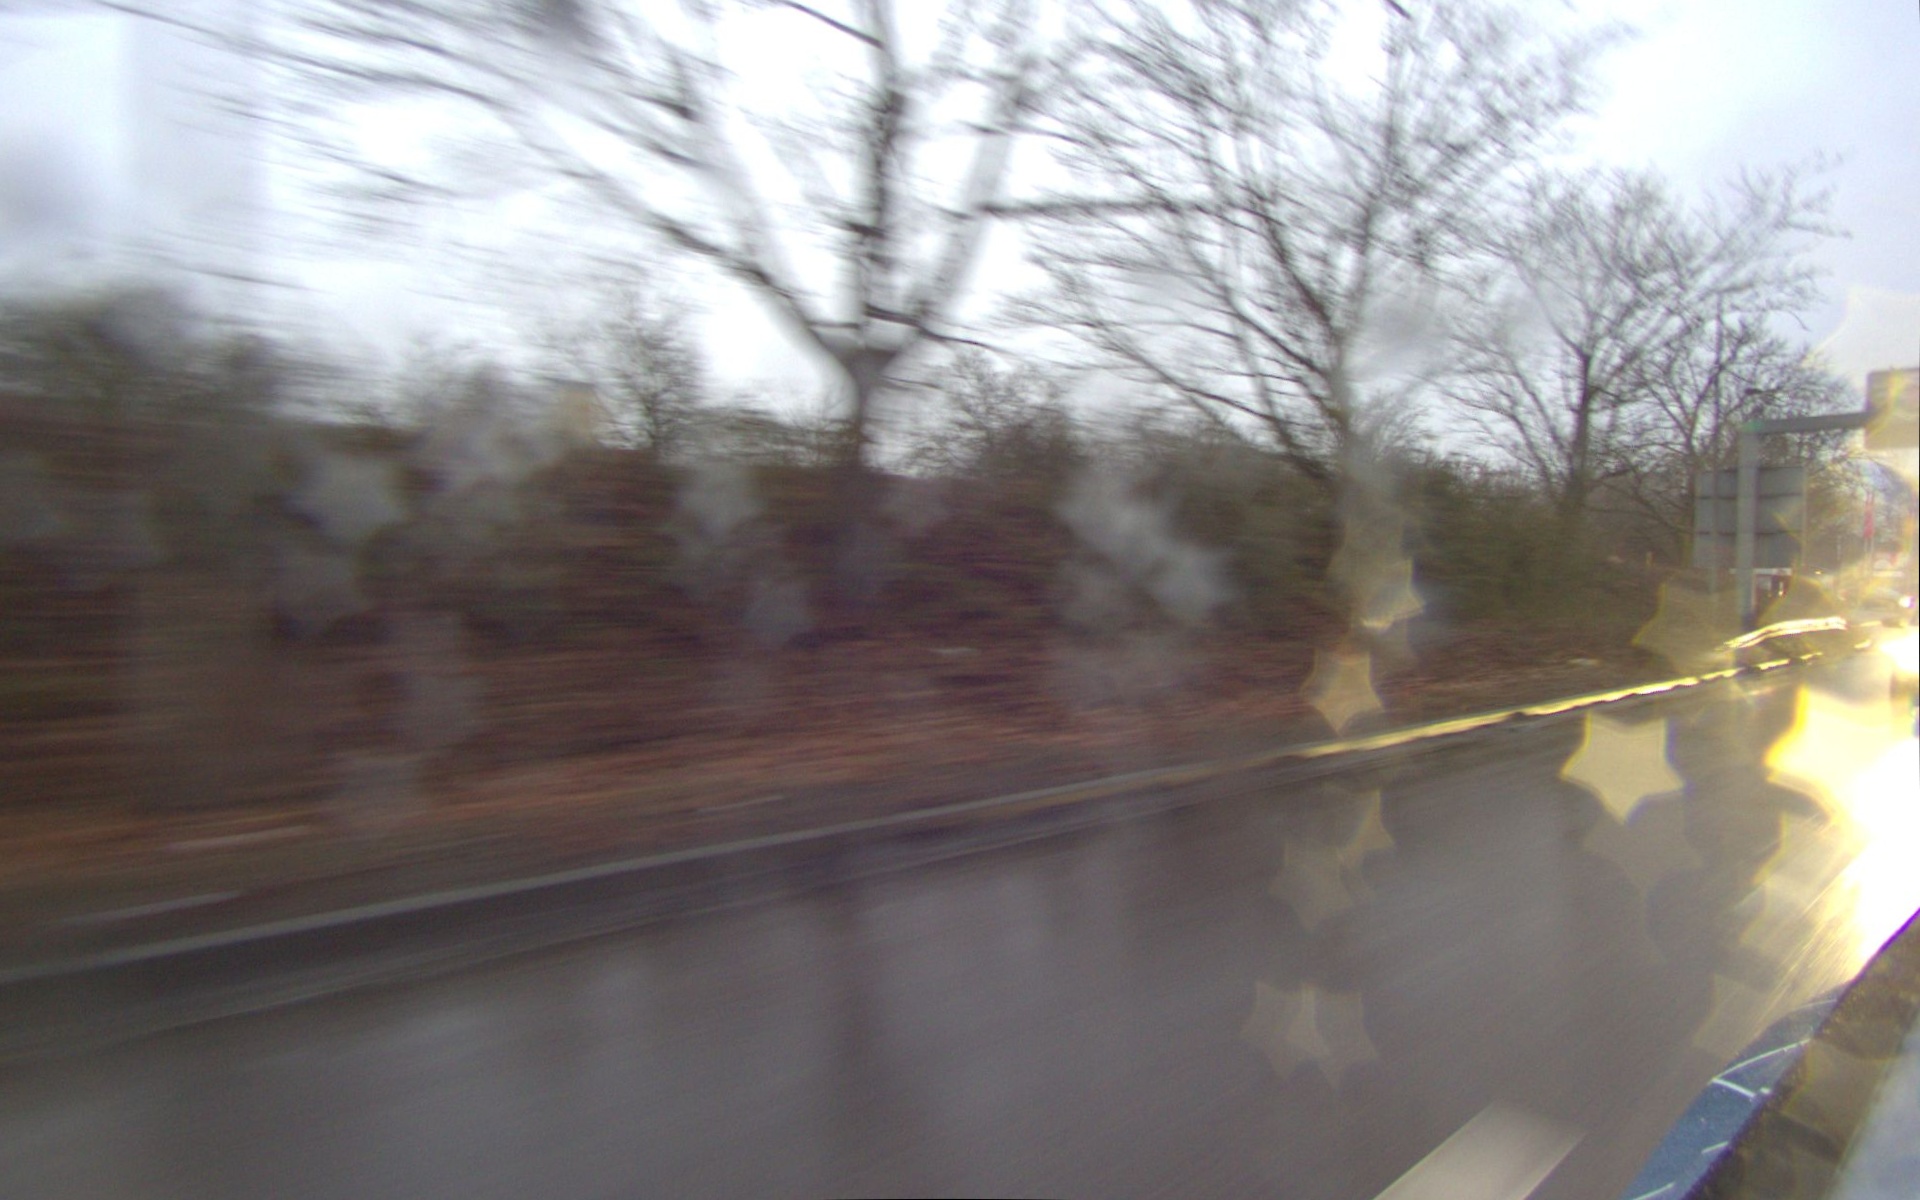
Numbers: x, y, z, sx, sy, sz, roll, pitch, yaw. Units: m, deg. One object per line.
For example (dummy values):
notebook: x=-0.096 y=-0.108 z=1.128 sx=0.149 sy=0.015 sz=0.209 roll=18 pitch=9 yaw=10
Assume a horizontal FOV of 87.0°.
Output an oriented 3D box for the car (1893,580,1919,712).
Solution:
car: x=13.277 y=0.543 z=12.715 sx=3.930 sy=1.552 sz=1.829 roll=-1 pitch=2 yaw=-41
